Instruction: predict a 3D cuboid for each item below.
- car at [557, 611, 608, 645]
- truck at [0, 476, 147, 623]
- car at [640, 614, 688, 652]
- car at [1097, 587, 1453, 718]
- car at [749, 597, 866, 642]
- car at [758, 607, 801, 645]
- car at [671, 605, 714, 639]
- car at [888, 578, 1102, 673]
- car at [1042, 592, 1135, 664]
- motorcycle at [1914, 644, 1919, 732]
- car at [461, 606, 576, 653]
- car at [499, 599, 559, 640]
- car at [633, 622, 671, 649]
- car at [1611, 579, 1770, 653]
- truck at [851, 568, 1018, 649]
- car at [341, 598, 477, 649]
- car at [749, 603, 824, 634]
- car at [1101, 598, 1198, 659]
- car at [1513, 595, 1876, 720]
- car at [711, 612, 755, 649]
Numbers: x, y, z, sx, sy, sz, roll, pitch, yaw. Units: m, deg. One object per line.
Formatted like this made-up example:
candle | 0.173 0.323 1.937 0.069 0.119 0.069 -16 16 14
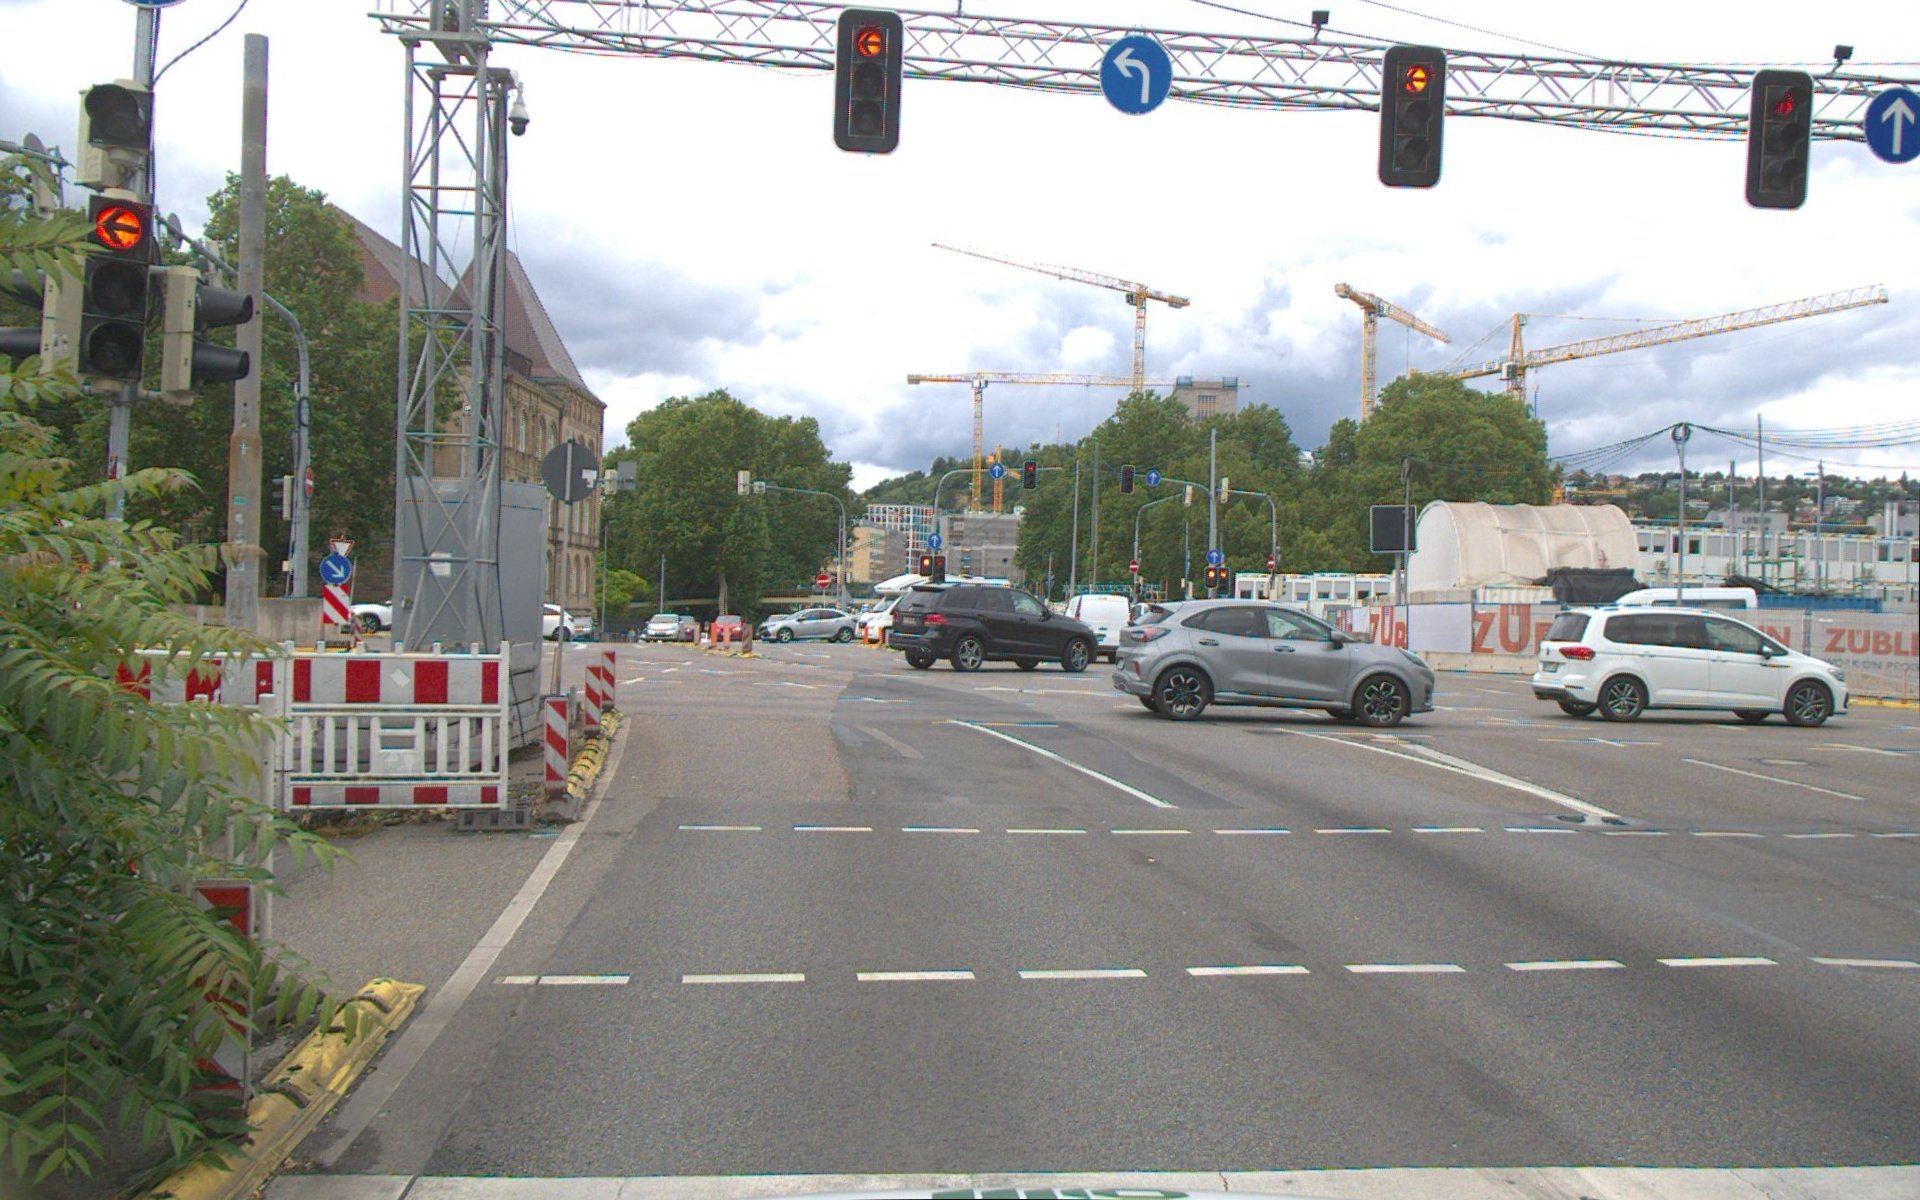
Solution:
car | -21.585 1.574 94.655 1.952 1.870 4.000 1 0 0
truck | -34.370 -1.786 58.472 9.552 5.047 3.101 1 0 -15
car | -15.283 1.688 85.614 1.954 1.870 3.997 1 0 -3
car | 4.022 0.660 21.621 4.209 1.567 1.999 1 0 -3
car | -6.398 0.827 69.438 4.508 1.806 1.984 1 0 -26
car | -9.325 1.320 85.680 1.954 1.870 3.997 1 0 -3
car | -15.201 1.254 94.141 1.954 1.870 3.997 1 0 -3
car | 0.766 0.529 34.726 4.213 1.866 1.973 1 0 -38
car | 3.507 0.755 45.878 1.827 1.865 4.717 1 0 -5
motorcycle | 14.043 1.204 21.874 2.373 1.175 0.817 1 0 0
car | -17.272 1.146 64.716 4.093 1.754 1.894 1 0 -24
car | -20.554 0.934 79.035 1.954 1.870 3.997 1 0 -3
car | -22.358 2.560 120.052 1.952 1.870 4.000 1 0 0
car | 21.057 0.449 47.828 3.902 2.049 2.001 1 0 15
truck | -1.051 0.370 68.329 6.495 3.201 2.349 1 0 -24
car | -19.983 0.850 59.989 4.524 1.754 1.894 1 0 -24
car | -9.910 1.048 94.771 3.902 1.691 2.001 1 0 6
car | 5.806 0.853 51.165 1.956 1.790 4.498 1 0 -7
car | 10.943 0.837 24.840 4.577 1.732 1.999 1 0 -3
car | -12.015 1.572 87.590 1.954 1.870 3.997 1 0 -3
